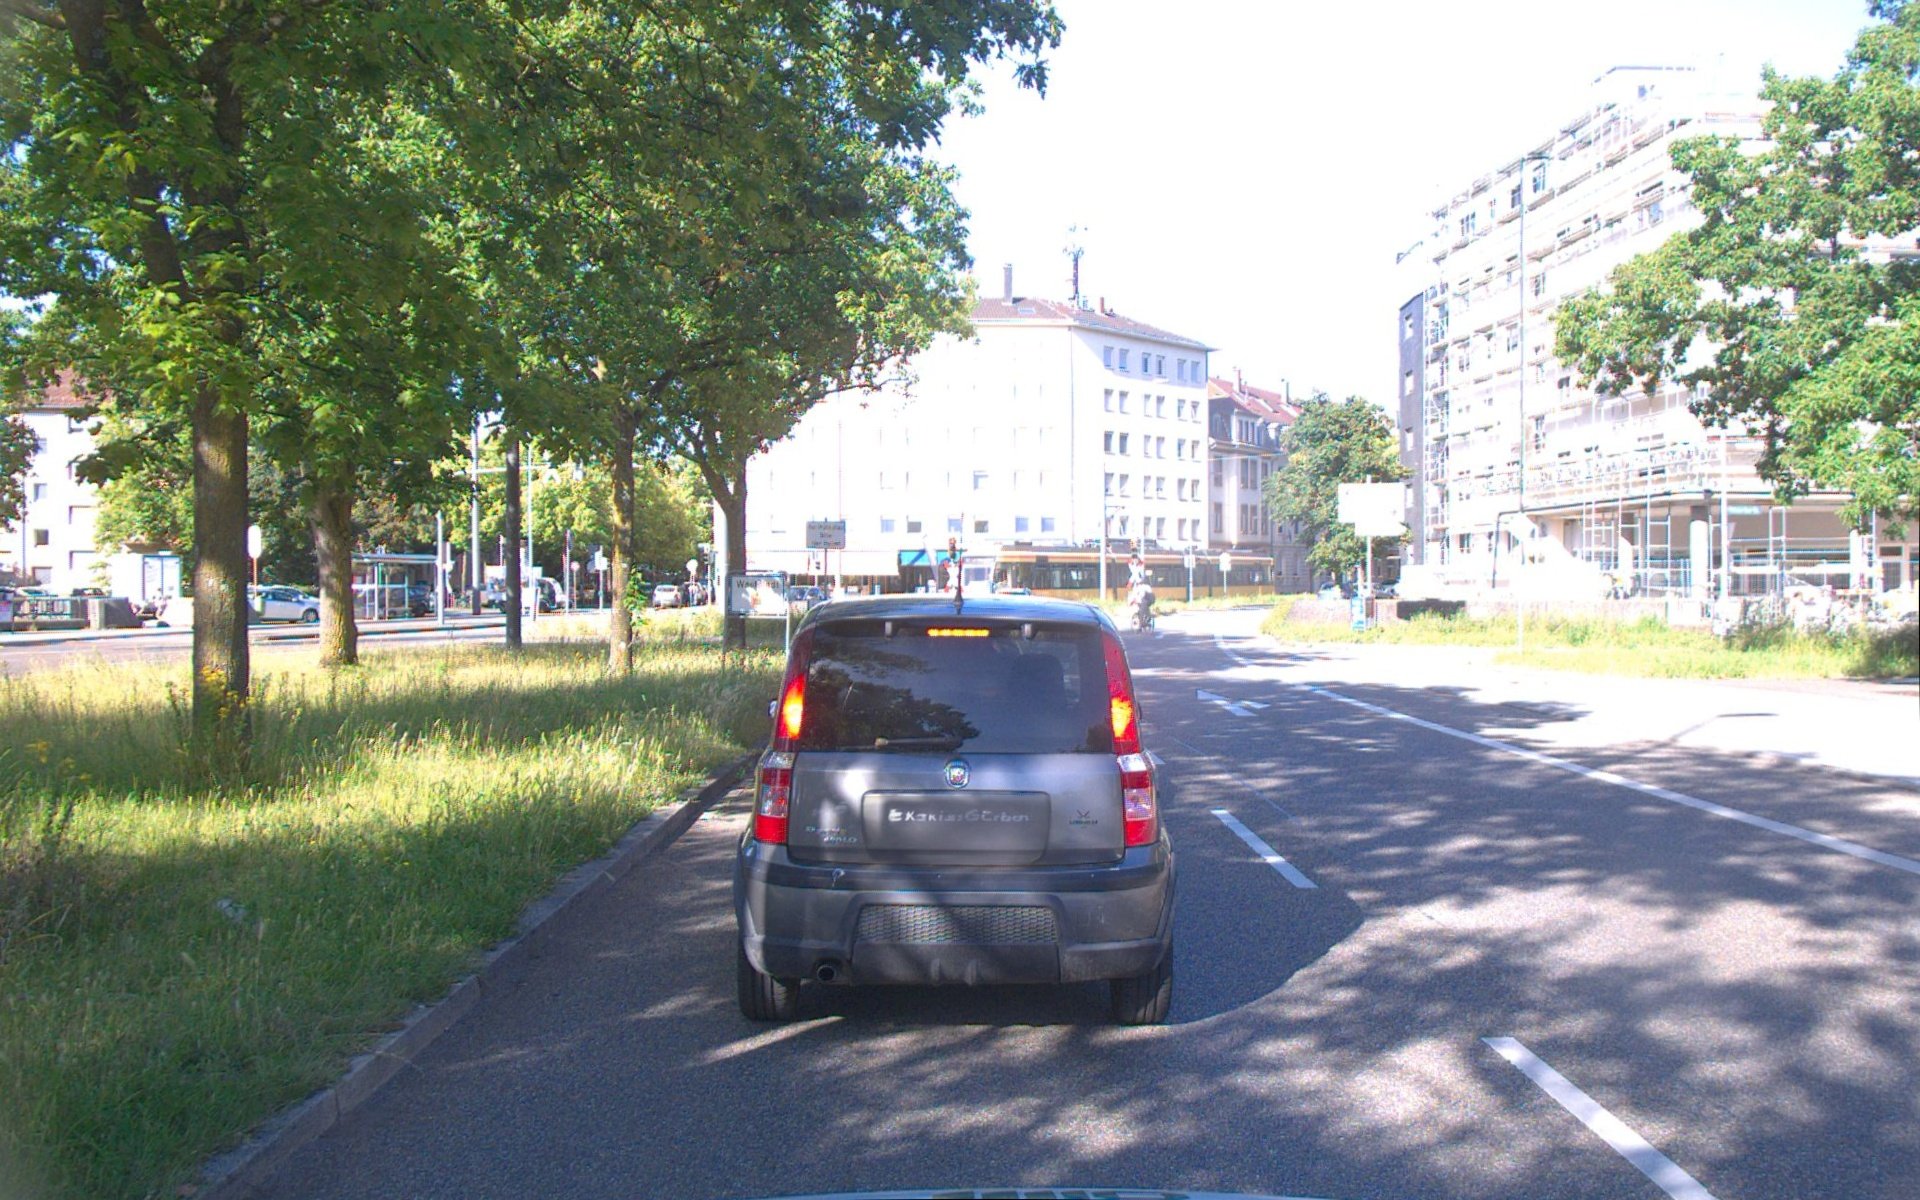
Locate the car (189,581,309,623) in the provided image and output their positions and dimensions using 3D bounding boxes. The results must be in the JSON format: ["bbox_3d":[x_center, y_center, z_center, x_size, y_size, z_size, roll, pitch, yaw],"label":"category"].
[{"bbox_3d":[-29.956,0.049,69.779,1.961,1.713,4.302,0,1,38],"label":"car"}]

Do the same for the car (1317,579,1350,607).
[{"bbox_3d":[20.502,-0.393,90.712,1.646,1.475,3.574,0,1,15],"label":"car"}]

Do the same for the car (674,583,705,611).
[{"bbox_3d":[-20.159,-0.243,123.280,1.954,2.049,3.996,0,1,-5],"label":"car"}]

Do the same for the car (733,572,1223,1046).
[{"bbox_3d":[0.033,0.658,7.410,1.595,1.534,3.999,0,1,-1],"label":"car"}]

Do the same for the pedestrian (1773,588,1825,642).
[{"bbox_3d":[22.942,0.401,45.234,0.877,1.472,0.962,0,0,-15],"label":"pedestrian"}]

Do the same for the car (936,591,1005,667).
[{"bbox_3d":[0.178,0.554,33.858,1.328,1.475,3.265,0,0,-1],"label":"car"}]

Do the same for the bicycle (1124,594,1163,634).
[{"bbox_3d":[5.766,0.425,52.152,0.694,1.219,2.517,1,0,-5],"label":"bicycle"}]

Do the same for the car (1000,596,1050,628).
[{"bbox_3d":[2.284,0.401,57.700,1.118,1.083,2.723,0,1,17],"label":"car"}]

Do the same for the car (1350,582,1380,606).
[{"bbox_3d":[23.112,-0.338,94.379,1.495,1.337,3.289,0,1,17],"label":"car"}]

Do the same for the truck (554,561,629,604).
[{"bbox_3d":[-28.364,-1.353,127.364,5.371,3.224,2.341,0,0,28],"label":"truck"}]

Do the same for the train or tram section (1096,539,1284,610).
[{"bbox_3d":[14.369,-1.525,100.120,3.236,3.836,20.759,0,1,32],"label":"train or tram section"}]

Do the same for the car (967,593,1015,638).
[{"bbox_3d":[0.918,0.442,49.604,1.328,1.304,2.875,0,1,-1],"label":"car"}]

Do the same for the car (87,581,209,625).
[{"bbox_3d":[-32.652,0.093,66.614,1.961,1.713,3.983,0,1,38],"label":"car"}]

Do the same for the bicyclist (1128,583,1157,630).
[{"bbox_3d":[5.741,0.200,52.141,0.727,1.463,0.844,1,0,-6],"label":"bicyclist"}]

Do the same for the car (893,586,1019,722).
[{"bbox_3d":[-0.071,0.602,20.670,1.434,1.534,3.504,0,1,-1],"label":"car"}]

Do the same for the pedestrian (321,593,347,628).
[{"bbox_3d":[-29.244,0.486,77.227,0.904,1.636,0.794,0,0,38],"label":"pedestrian"}]

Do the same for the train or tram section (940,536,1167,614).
[{"bbox_3d":[5.312,-1.255,84.835,3.234,3.574,19.345,0,1,30],"label":"train or tram section"}]

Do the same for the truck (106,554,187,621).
[{"bbox_3d":[-35.745,-0.552,72.685,3.932,2.854,1.987,0,1,44],"label":"truck"}]

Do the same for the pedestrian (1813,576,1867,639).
[{"bbox_3d":[24.070,0.193,45.248,0.876,1.682,0.981,0,0,-23],"label":"pedestrian"}]

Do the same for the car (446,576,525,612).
[{"bbox_3d":[-27.972,-0.358,97.549,4.093,2.049,1.930,0,0,-3],"label":"car"}]

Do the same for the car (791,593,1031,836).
[{"bbox_3d":[-0.317,0.679,11.626,1.434,1.425,3.393,0,1,-1],"label":"car"}]

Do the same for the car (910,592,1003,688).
[{"bbox_3d":[-0.079,0.607,27.276,1.434,1.449,3.381,0,1,-1],"label":"car"}]
